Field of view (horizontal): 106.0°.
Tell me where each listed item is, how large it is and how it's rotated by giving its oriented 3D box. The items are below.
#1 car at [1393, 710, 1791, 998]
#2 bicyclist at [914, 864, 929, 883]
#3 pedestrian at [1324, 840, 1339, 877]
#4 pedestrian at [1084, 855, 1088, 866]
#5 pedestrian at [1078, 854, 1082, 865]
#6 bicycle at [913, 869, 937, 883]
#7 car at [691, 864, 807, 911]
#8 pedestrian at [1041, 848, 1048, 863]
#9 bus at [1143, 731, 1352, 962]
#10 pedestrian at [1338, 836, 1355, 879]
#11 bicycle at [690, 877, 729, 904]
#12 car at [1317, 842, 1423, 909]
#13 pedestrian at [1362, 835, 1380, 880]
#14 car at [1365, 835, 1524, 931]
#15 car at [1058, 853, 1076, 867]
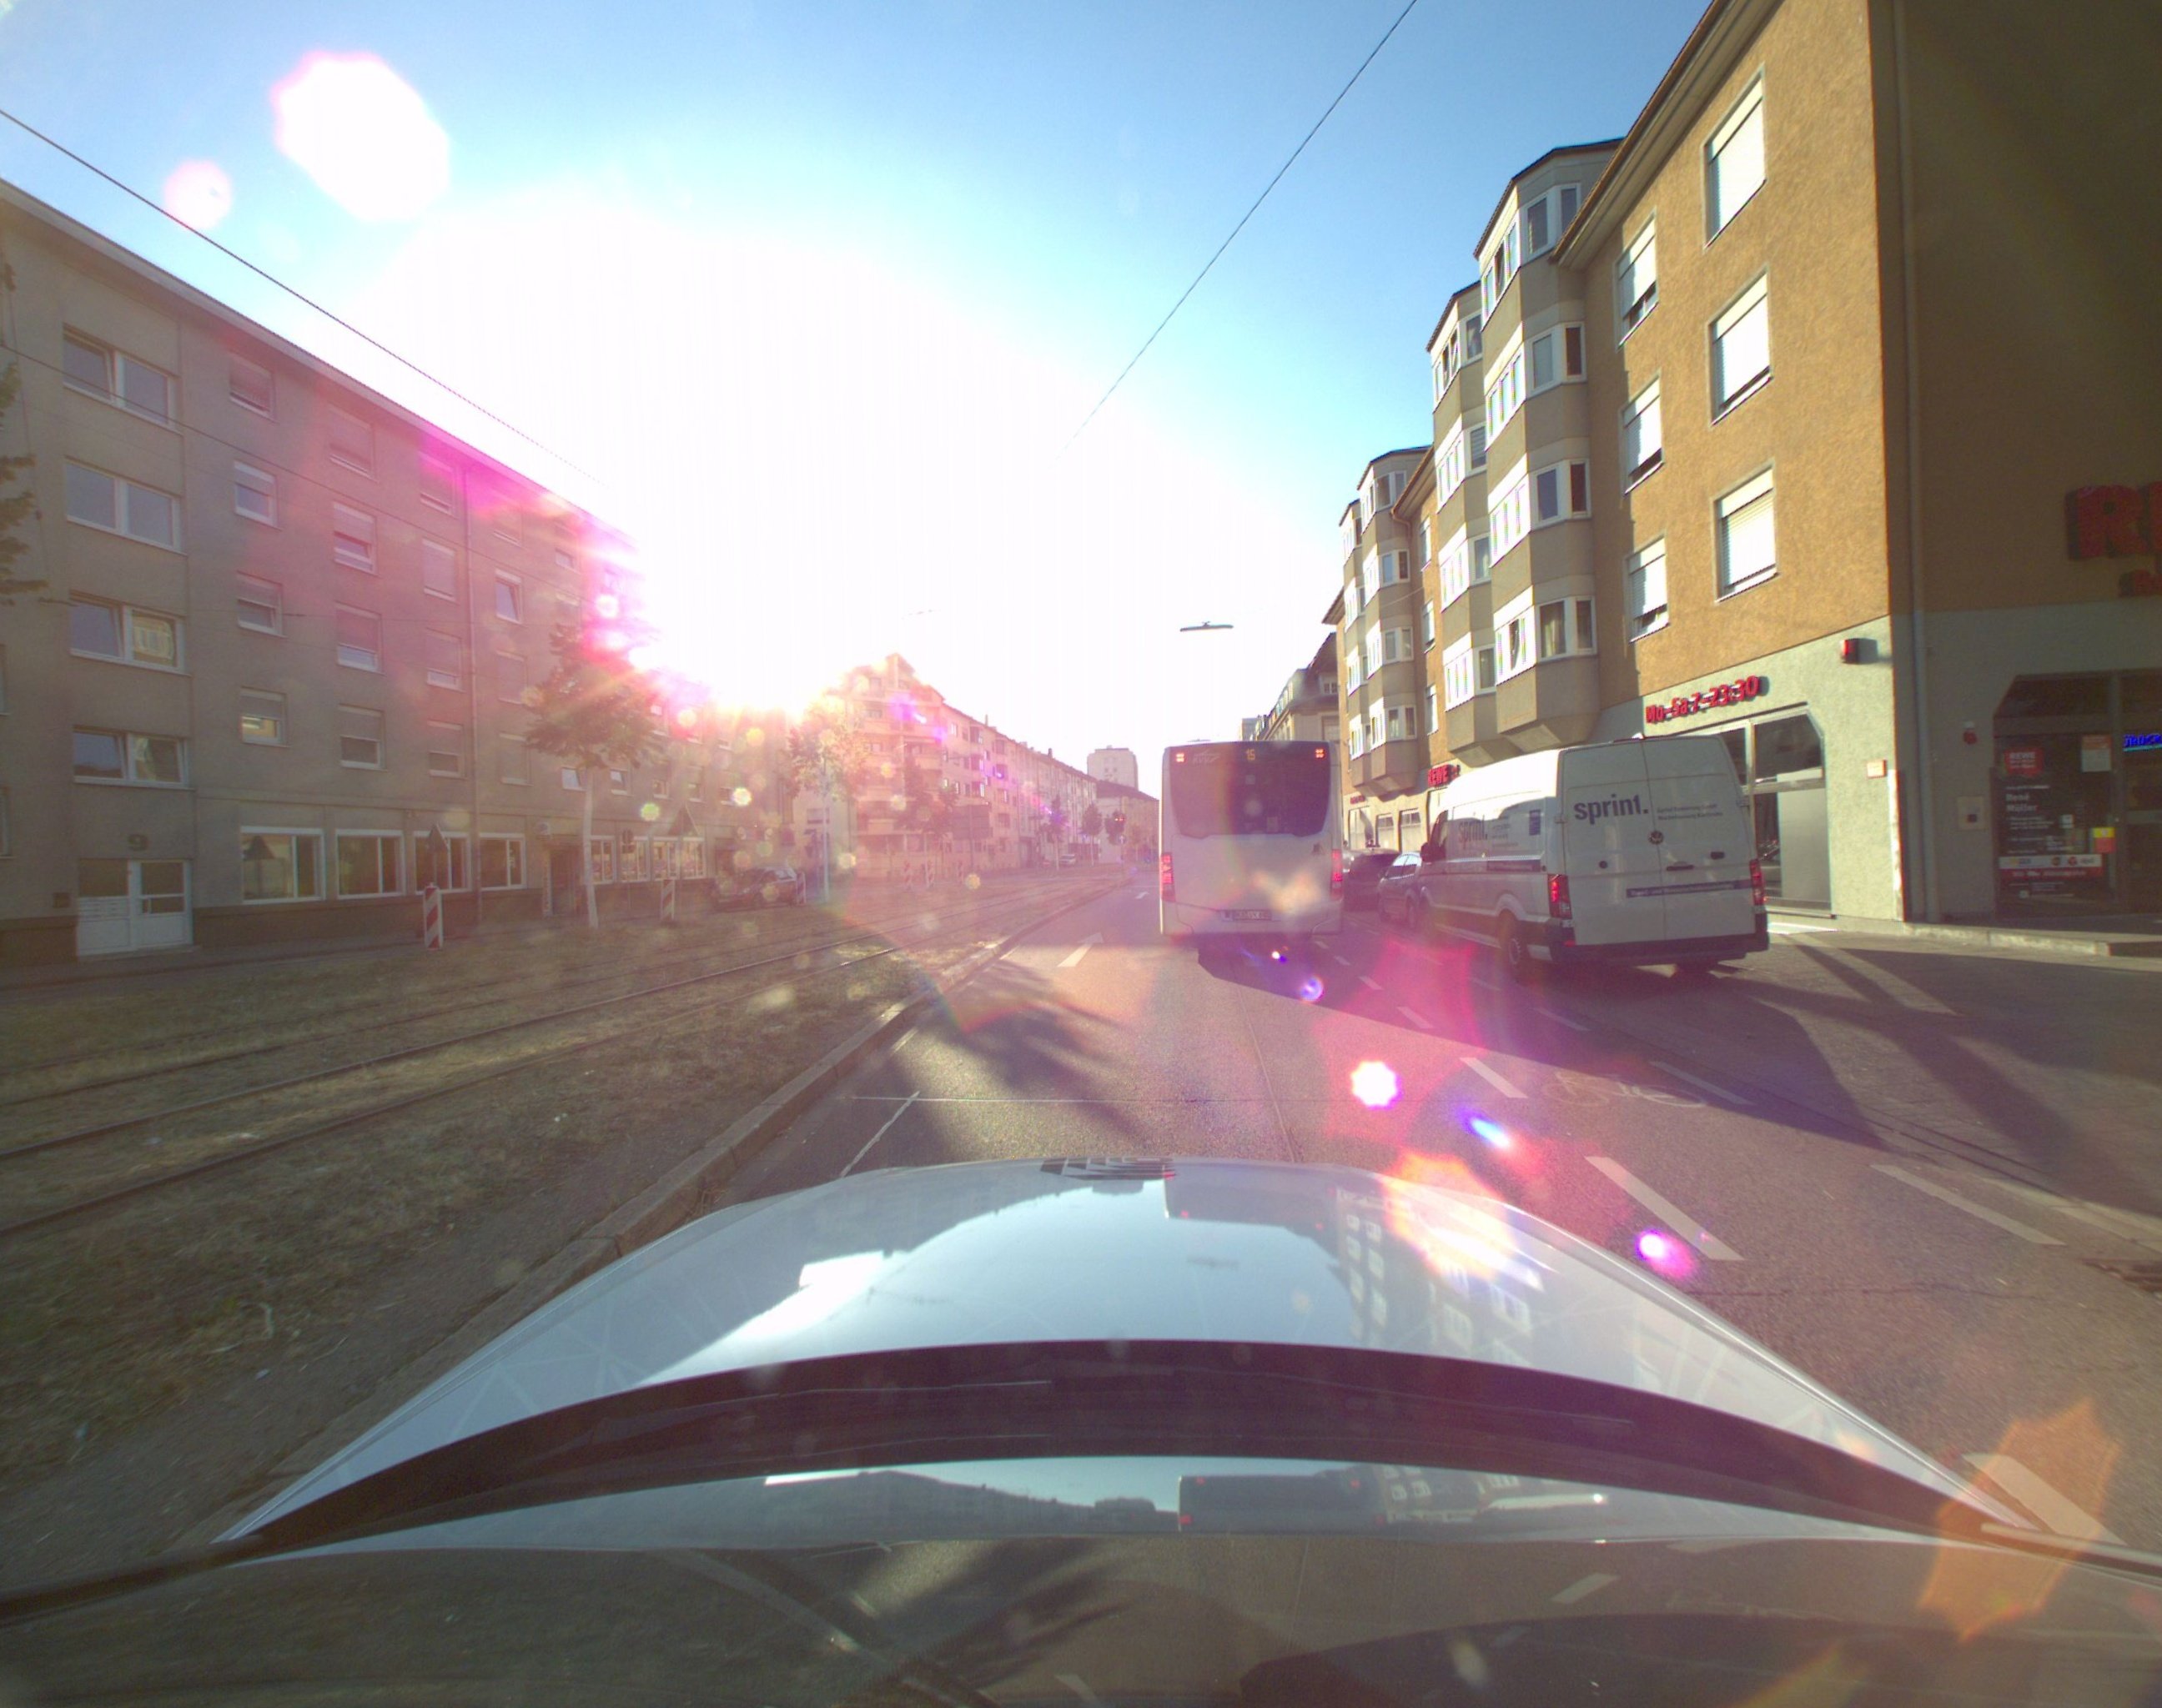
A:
[{"bbox_3d":[5.928,0.016,10.618,2.006,2.551,5.798,-6,-1,8],"label":"car"},{"bbox_3d":[-12.139,1.489,62.089,0.522,1.447,0.971,-3,-1,38],"label":"bicyclist"},{"bbox_3d":[12.105,0.227,39.386,0.542,1.784,0.452,-3,-1,25],"label":"pedestrian"},{"bbox_3d":[0.743,1.042,131.233,0.492,1.658,0.409,-3,-1,8],"label":"pedestrian"},{"bbox_3d":[-0.197,0.872,131.205,0.492,1.658,0.409,-3,-1,8],"label":"pedestrian"},{"bbox_3d":[-11.922,1.702,62.315,0.522,0.984,1.895,-3,0,38],"label":"bicycle"},{"bbox_3d":[-12.874,1.259,31.987,1.801,1.560,4.948,-3,0,10],"label":"car"},{"bbox_3d":[-4.951,0.261,111.115,0.783,2.013,0.892,-2,-1,5],"label":"pedestrian"},{"bbox_3d":[2.862,-0.093,15.364,2.723,3.056,8.874,-1,0,8],"label":"bus"},{"bbox_3d":[11.211,0.152,34.441,0.544,1.784,0.450,-3,0,8],"label":"pedestrian"},{"bbox_3d":[-16.912,1.647,37.135,0.742,1.115,1.782,-2,0,8],"label":"bicycle"},{"bbox_3d":[7.571,0.525,21.771,1.828,1.536,4.240,-3,0,8],"label":"car"},{"bbox_3d":[11.471,0.150,32.215,0.544,1.784,0.450,0,-1,8],"label":"pedestrian"},{"bbox_3d":[6.913,0.500,15.939,1.828,1.588,3.794,-3,0,8],"label":"car"},{"bbox_3d":[-2.037,0.867,117.884,1.801,1.797,4.256,-3,0,10],"label":"car"}]
